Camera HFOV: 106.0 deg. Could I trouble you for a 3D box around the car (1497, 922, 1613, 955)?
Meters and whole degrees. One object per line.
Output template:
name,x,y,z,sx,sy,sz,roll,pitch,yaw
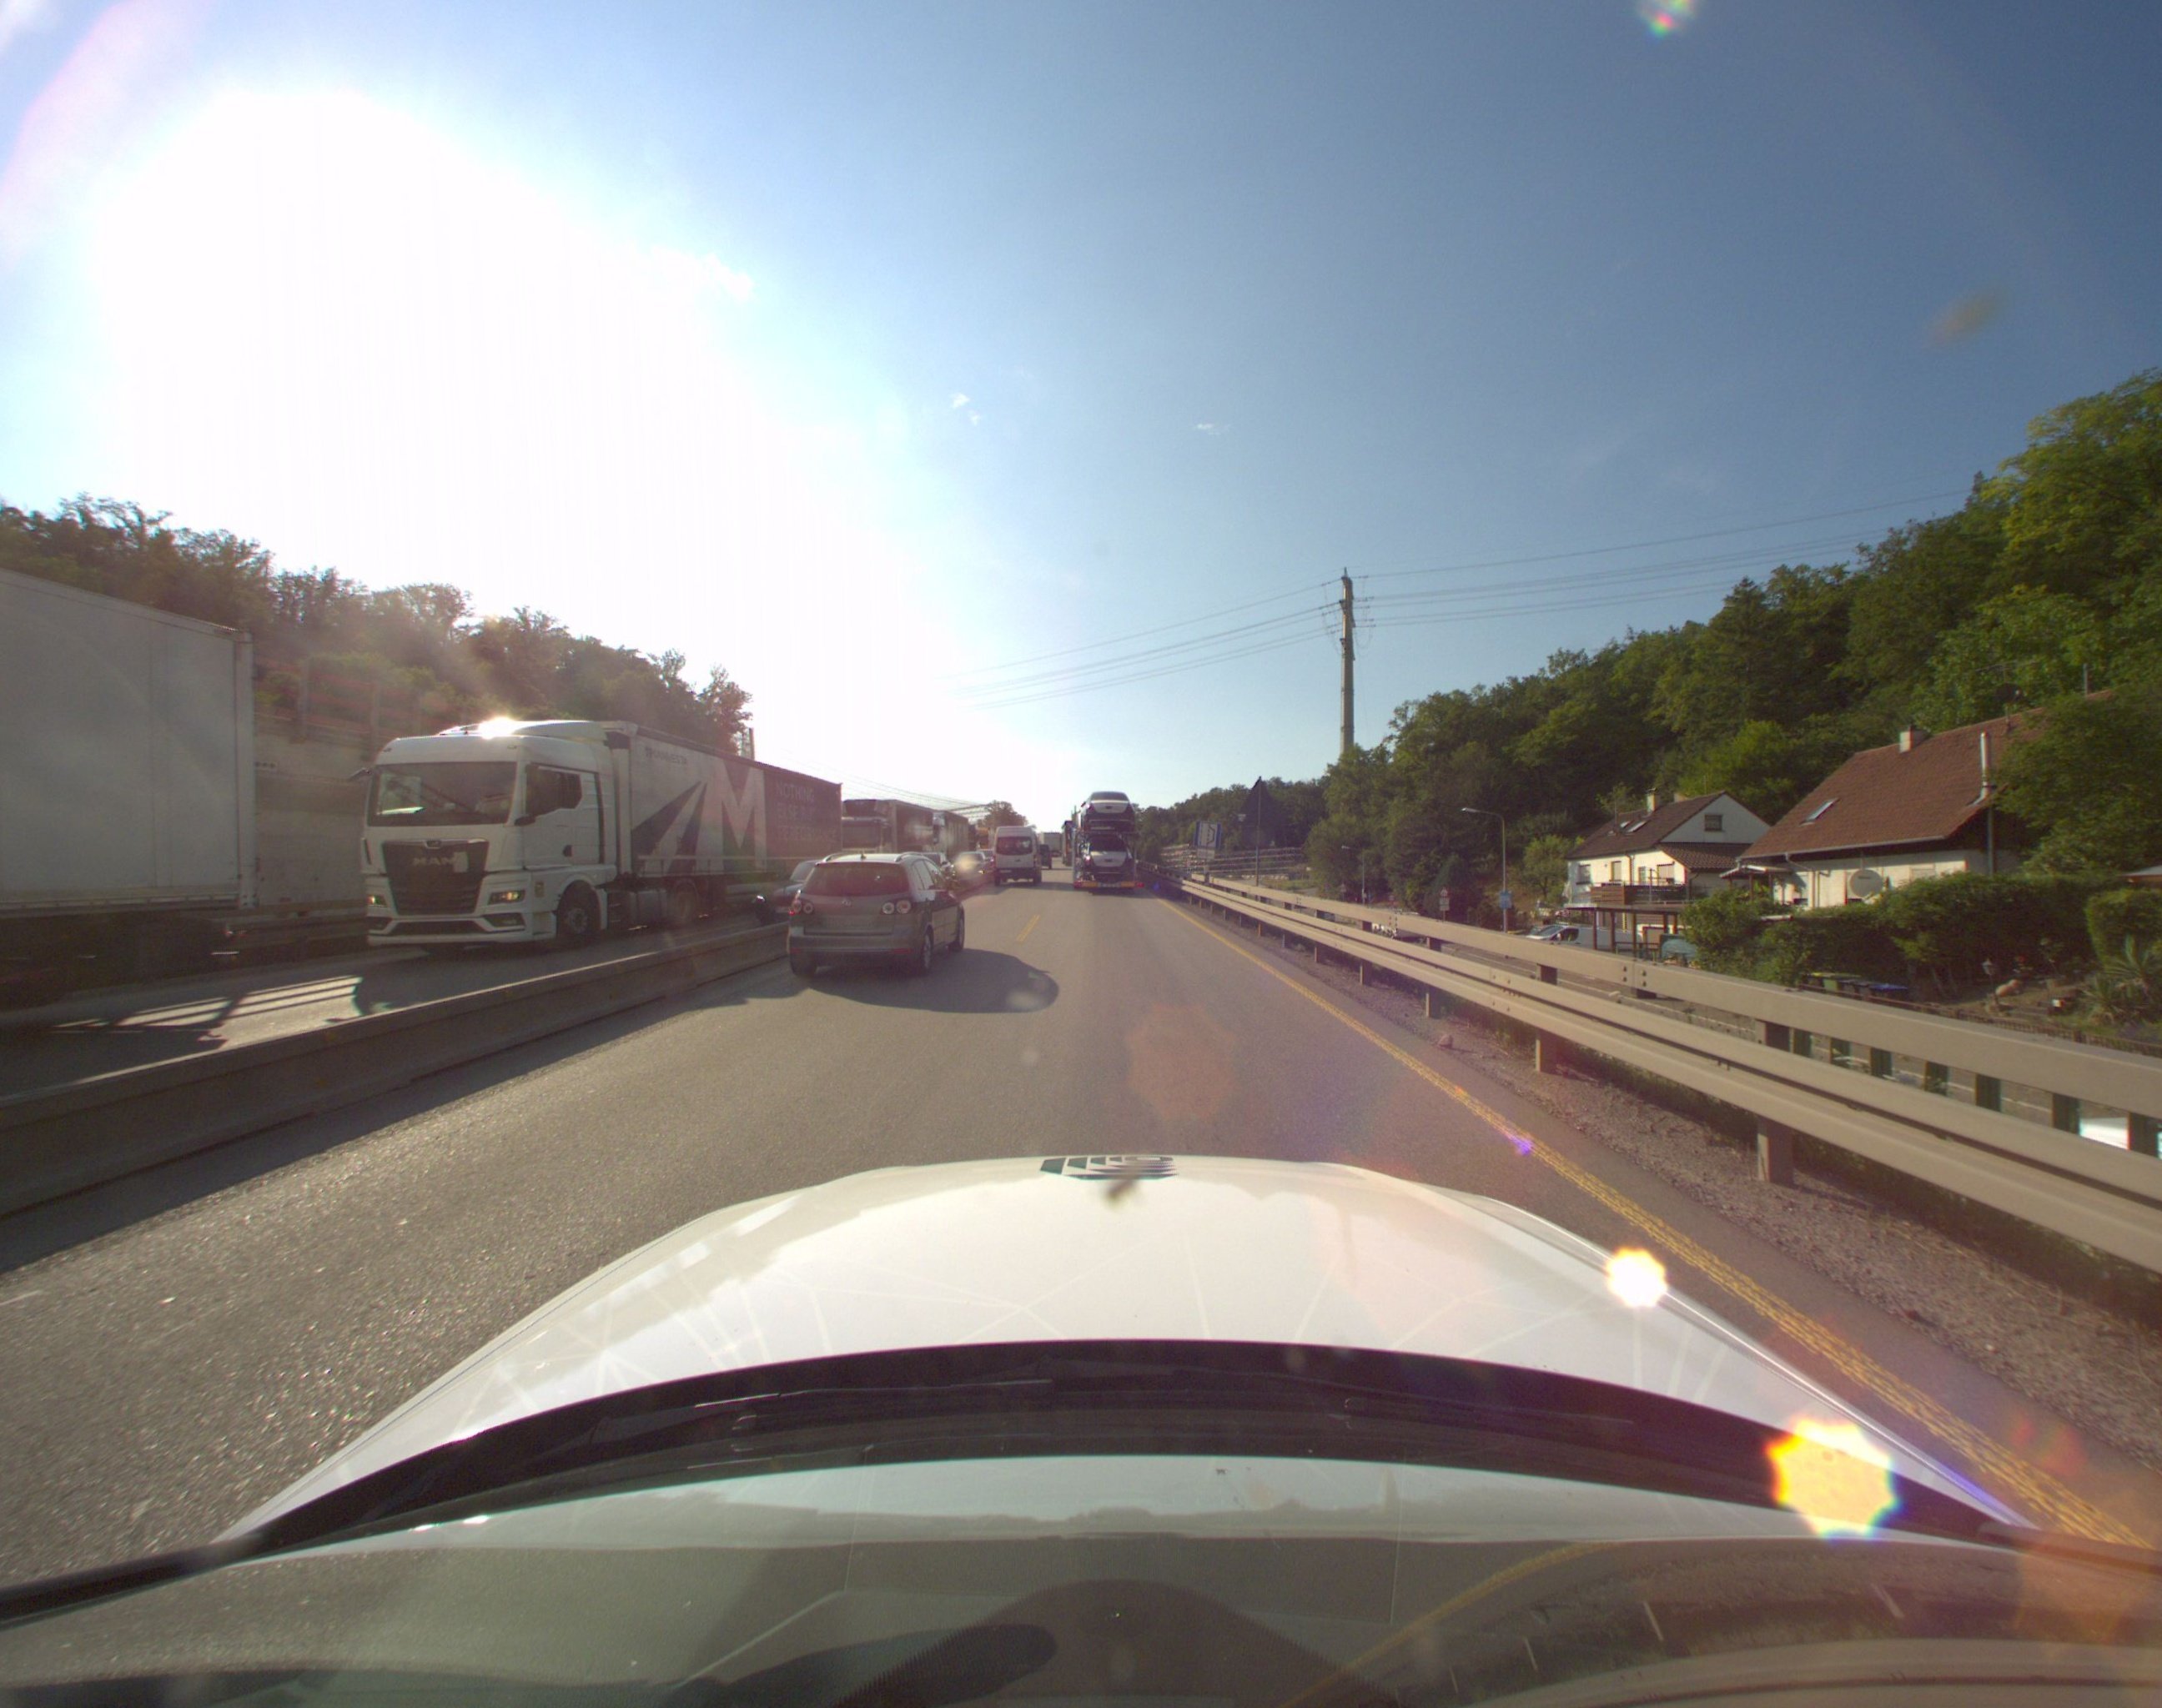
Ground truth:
car,24.979,4.464,43.080,5.065,1.557,1.718,0,-2,5

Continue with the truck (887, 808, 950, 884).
truck,-9.338,-0.451,47.278,2.743,4.115,5.025,-2,0,-3

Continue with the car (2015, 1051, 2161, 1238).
car,12.077,3.165,7.690,1.659,1.662,4.479,-1,-2,7

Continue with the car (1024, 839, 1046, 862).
car,-4.098,-0.252,72.759,1.828,1.963,4.895,-1,-1,-2

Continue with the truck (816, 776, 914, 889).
truck,-9.180,-0.877,35.180,2.911,4.514,5.025,0,0,-1

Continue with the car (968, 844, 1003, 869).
car,-6.686,0.162,57.502,1.872,1.605,5.365,-3,0,-2

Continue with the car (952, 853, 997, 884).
car,-5.920,0.833,45.865,1.856,1.586,4.745,2,-1,0

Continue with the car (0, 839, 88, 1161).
car,-6.588,0.704,2.025,2.001,1.655,4.975,1,-1,1

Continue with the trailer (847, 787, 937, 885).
trailer,-9.237,-0.812,40.681,2.903,4.465,7.149,0,0,-1

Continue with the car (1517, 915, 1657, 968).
car,24.260,4.172,39.238,5.440,2.264,2.003,0,-2,5

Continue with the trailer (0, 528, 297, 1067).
trailer,-10.023,-0.471,2.026,2.446,4.320,13.780,-1,0,2

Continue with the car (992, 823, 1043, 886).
car,-2.836,0.029,37.335,1.973,2.684,4.146,-1,-1,0

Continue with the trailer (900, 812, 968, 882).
trailer,-9.668,-0.439,55.075,2.708,4.122,12.481,-2,0,-2

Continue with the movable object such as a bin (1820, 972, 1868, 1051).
movable object such as a bin,18.569,3.832,19.827,0.532,1.770,0.410,9,-1,11

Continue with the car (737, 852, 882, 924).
car,-6.182,0.744,19.191,1.769,1.457,4.813,1,-1,0

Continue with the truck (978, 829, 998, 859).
truck,-13.569,-1.393,118.931,2.690,4.197,4.389,-1,-1,-6

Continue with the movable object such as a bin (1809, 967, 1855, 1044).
movable object such as a bin,18.670,3.763,20.251,0.526,1.770,0.417,9,-1,11

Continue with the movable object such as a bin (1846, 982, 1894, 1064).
movable object such as a bin,18.389,3.925,18.987,0.486,1.770,0.415,9,-1,11

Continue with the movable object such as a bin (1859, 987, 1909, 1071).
movable object such as a bin,18.299,3.968,18.559,0.486,1.770,0.415,9,-1,11

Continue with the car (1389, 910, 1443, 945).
car,20.982,4.558,51.178,1.984,1.917,4.874,-1,-2,9

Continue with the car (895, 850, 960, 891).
car,-6.172,0.664,33.129,1.761,1.551,4.478,0,-1,0

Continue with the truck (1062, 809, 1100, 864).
truck,-0.129,-1.631,75.776,3.219,4.676,11.690,0,1,-1

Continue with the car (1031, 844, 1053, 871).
car,-3.025,0.258,63.669,1.524,2.014,3.997,1,-1,-1

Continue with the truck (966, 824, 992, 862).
truck,-11.655,-1.184,93.360,2.696,4.140,5.784,-1,-1,-5

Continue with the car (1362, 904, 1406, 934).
car,22.563,4.833,60.765,1.853,1.986,5.060,-1,-2,6

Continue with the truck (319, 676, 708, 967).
truck,-9.678,-0.457,14.937,2.755,4.203,6.114,-1,-1,0

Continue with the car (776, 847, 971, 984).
car,-2.723,0.740,11.675,1.695,1.587,4.146,-1,0,0

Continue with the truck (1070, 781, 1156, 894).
truck,1.102,-0.578,31.783,2.863,3.980,5.766,-1,-1,-2

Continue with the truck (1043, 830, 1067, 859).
truck,-4.299,-1.659,136.877,3.637,4.676,11.692,0,1,-1

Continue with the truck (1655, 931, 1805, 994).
truck,23.241,3.844,29.227,2.010,1.738,3.951,9,-5,-44

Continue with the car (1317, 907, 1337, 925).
car,23.938,6.025,79.343,1.515,1.461,4.282,-1,0,12

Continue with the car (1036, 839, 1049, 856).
car,-4.810,-0.827,103.239,1.524,2.014,3.997,1,-1,-2

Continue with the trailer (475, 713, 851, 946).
trailer,-9.597,-0.410,21.809,2.766,4.203,13.832,-1,0,1

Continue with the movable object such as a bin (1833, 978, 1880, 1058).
movable object such as a bin,18.491,3.904,19.414,0.486,1.770,0.415,9,-1,11

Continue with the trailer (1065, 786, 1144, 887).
trailer,0.784,-0.650,40.200,2.867,3.994,15.265,-1,0,-2

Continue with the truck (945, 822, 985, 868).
truck,-10.175,-0.769,71.964,2.743,3.805,7.104,-2,0,-3
